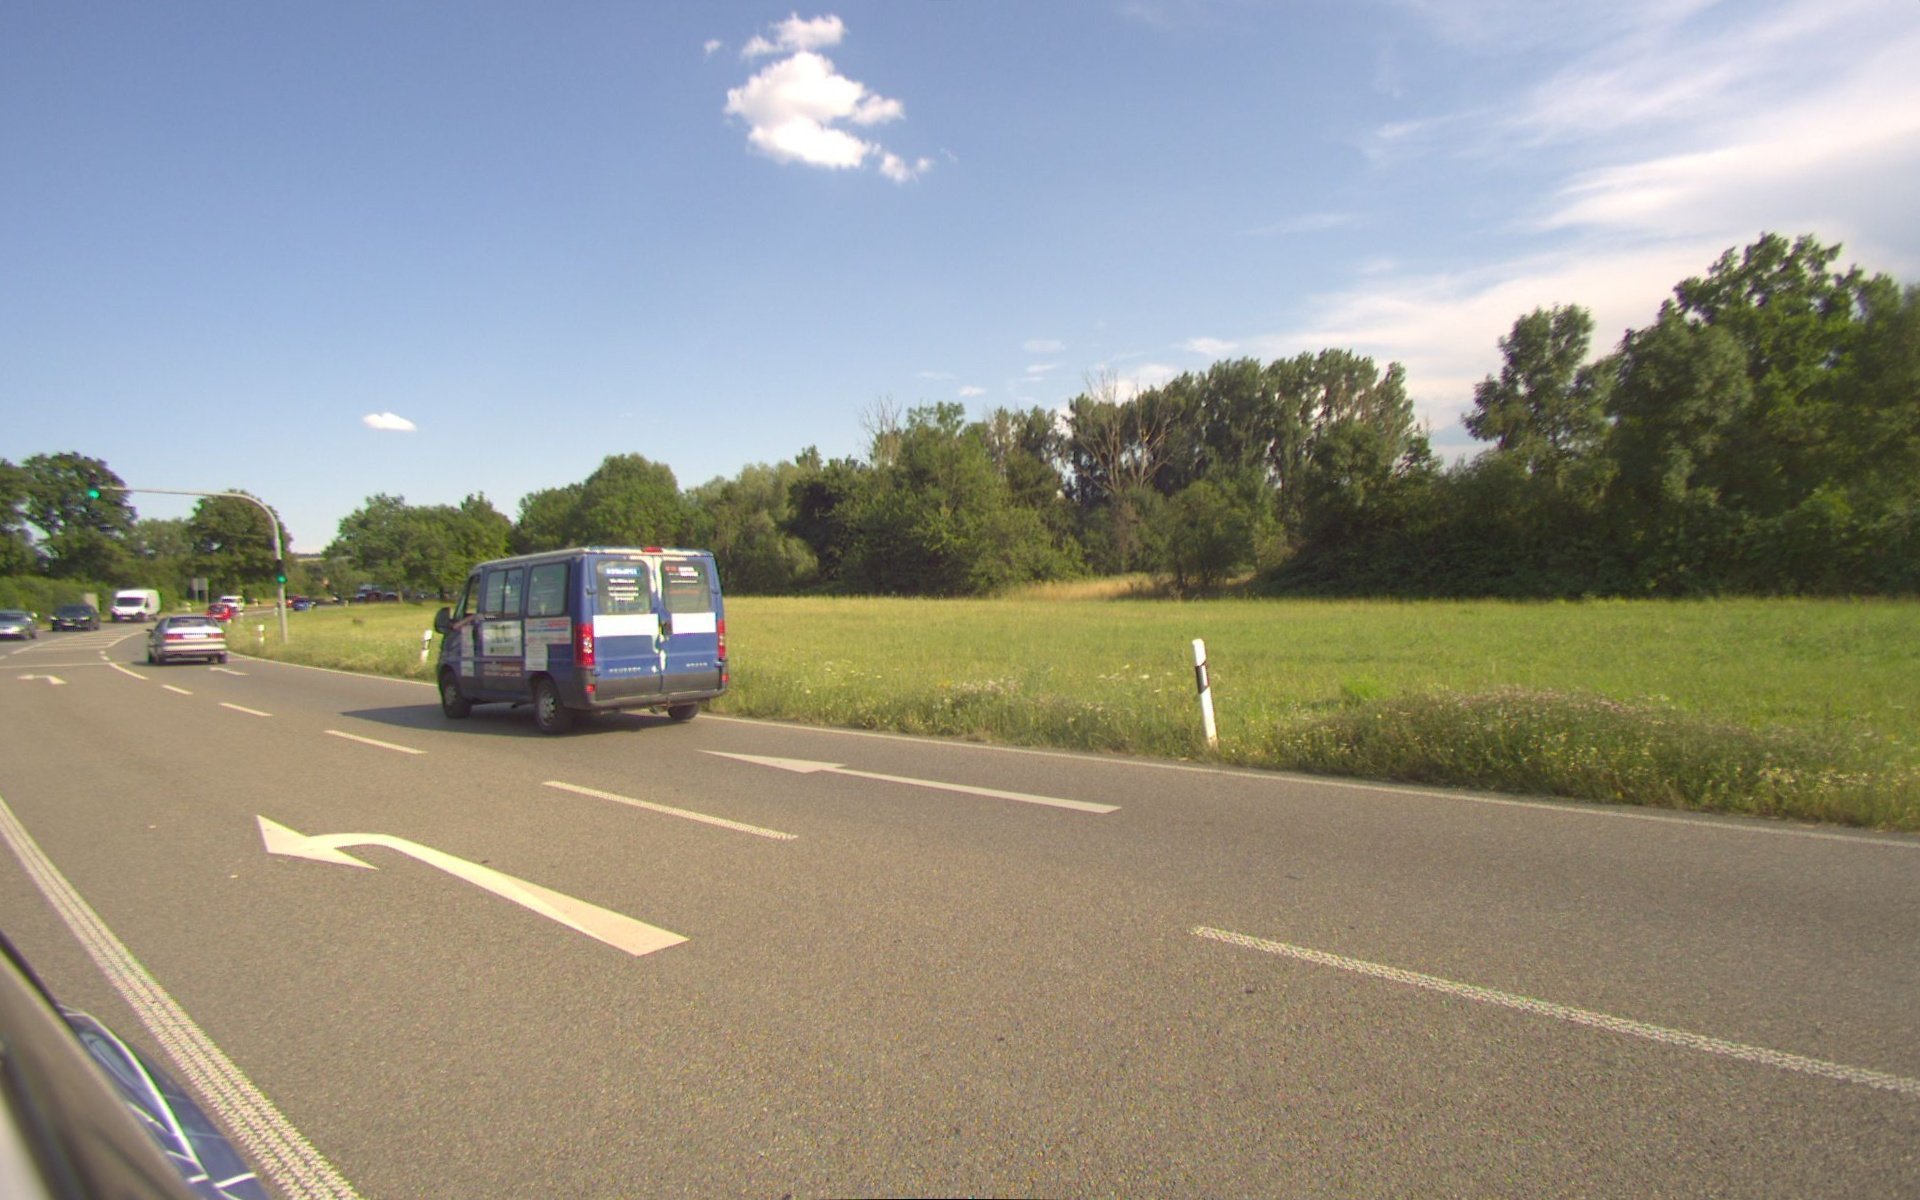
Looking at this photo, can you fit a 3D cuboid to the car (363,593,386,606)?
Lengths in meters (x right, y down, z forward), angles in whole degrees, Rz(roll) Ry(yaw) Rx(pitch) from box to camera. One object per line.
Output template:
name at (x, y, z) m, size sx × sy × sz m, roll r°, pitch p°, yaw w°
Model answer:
car at (-89.229, -0.050, 154.242) m, size 1.855 × 1.789 × 4.332 m, roll 0°, pitch -1°, yaw -13°

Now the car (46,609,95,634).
car at (-54.367, 1.321, 61.886) m, size 1.581 × 1.490 × 3.627 m, roll 1°, pitch -1°, yaw -31°

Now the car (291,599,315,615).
car at (-77.421, 0.846, 119.249) m, size 1.700 × 1.897 × 4.350 m, roll 0°, pitch -1°, yaw -24°

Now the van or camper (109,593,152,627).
van or camper at (-65.364, 0.793, 79.834) m, size 2.001 × 2.494 × 5.091 m, roll -3°, pitch 1°, yaw -33°

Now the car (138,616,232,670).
car at (-22.828, 1.218, 29.745) m, size 1.687 × 1.439 × 4.181 m, roll -1°, pitch 0°, yaw -44°

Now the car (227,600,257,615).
car at (-78.085, 0.830, 110.071) m, size 1.646 × 1.490 × 3.505 m, roll -3°, pitch 1°, yaw -18°

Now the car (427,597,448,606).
car at (-94.494, 0.246, 183.165) m, size 1.858 × 1.598 × 4.334 m, roll 0°, pitch -1°, yaw -4°

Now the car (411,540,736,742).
car at (-5.148, 0.457, 13.111) m, size 4.778 × 2.153 × 1.977 m, roll -1°, pitch 0°, yaw 42°

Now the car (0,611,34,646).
car at (-46.357, 1.339, 49.203) m, size 1.609 × 1.570 × 3.425 m, roll 1°, pitch 1°, yaw -37°

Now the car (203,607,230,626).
car at (-60.585, 1.372, 82.513) m, size 1.564 × 1.478 × 3.616 m, roll 0°, pitch -1°, yaw -34°
